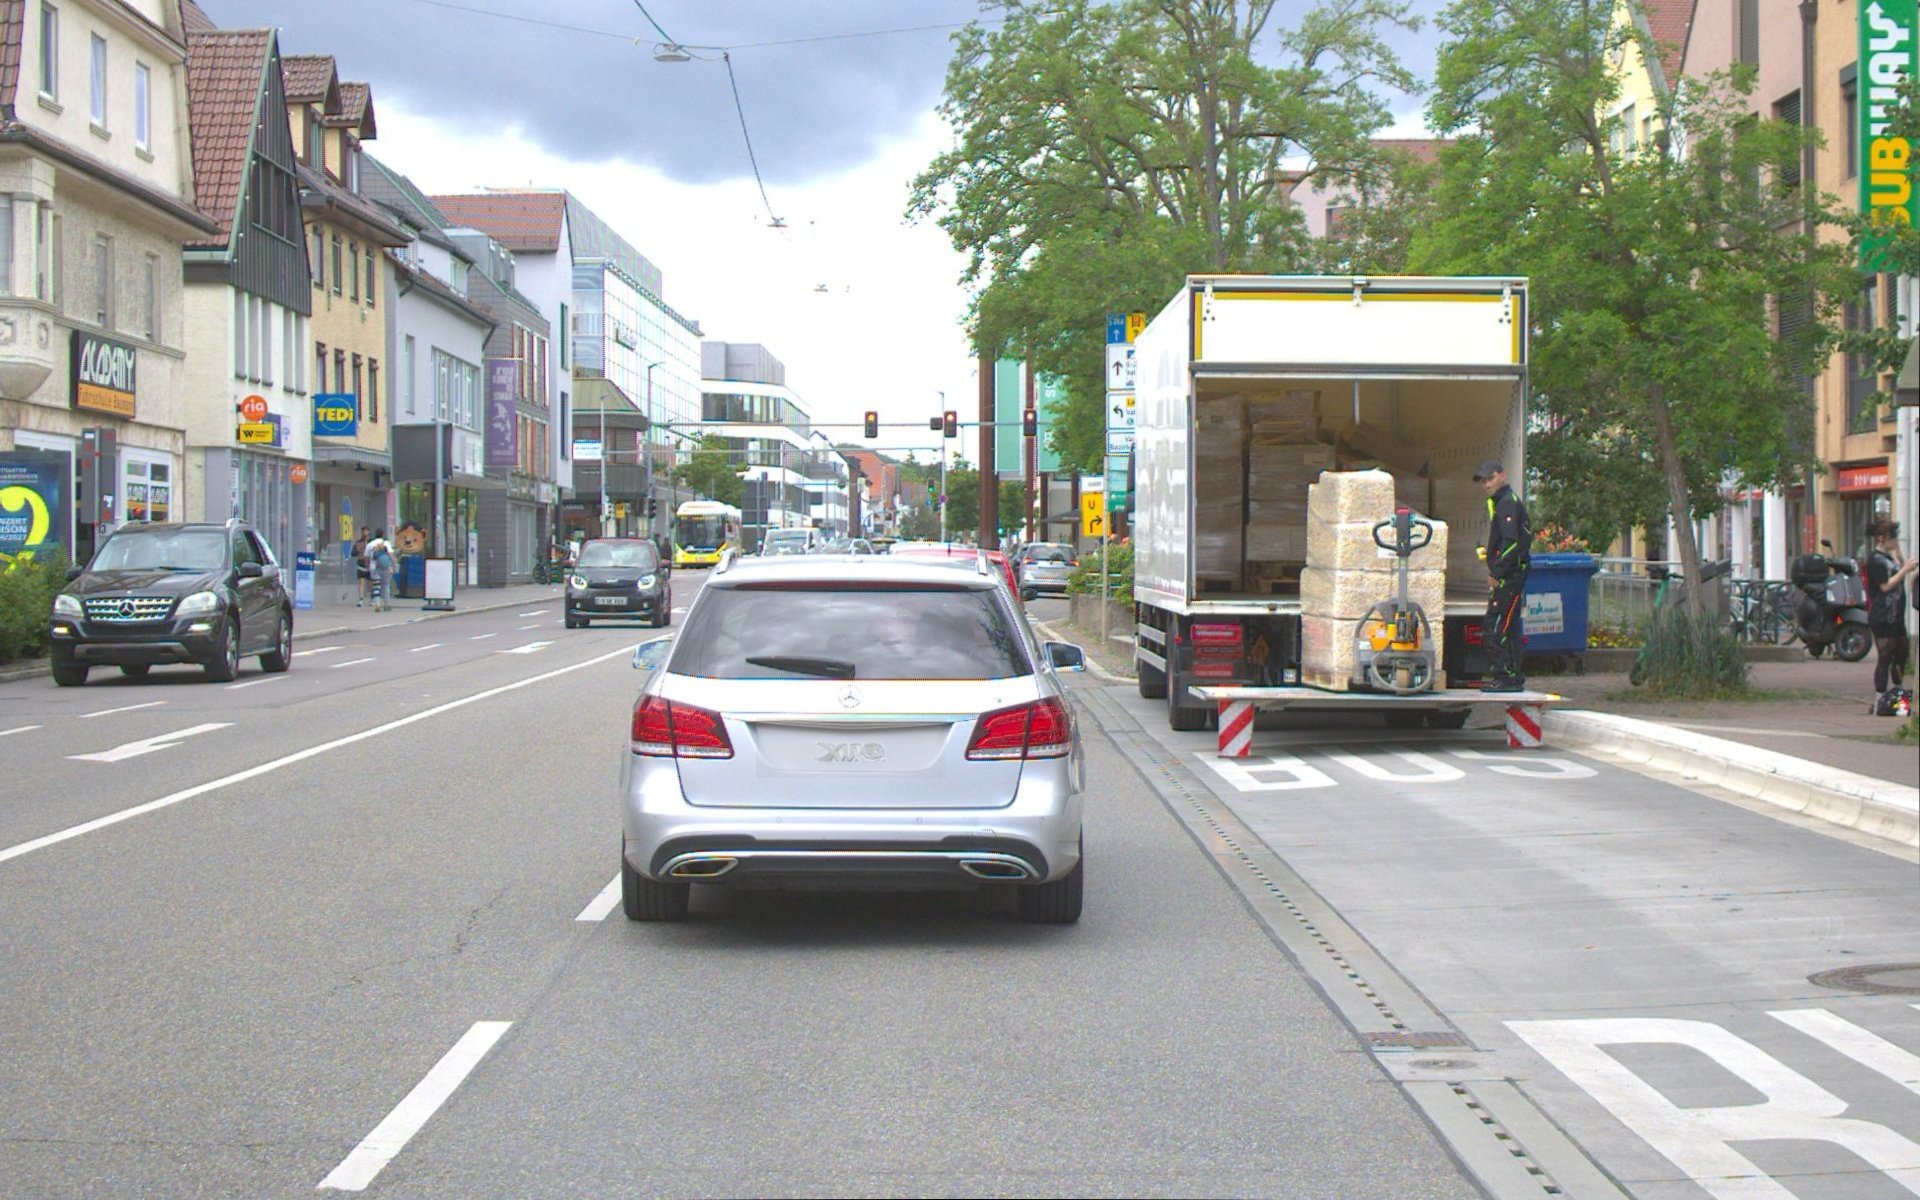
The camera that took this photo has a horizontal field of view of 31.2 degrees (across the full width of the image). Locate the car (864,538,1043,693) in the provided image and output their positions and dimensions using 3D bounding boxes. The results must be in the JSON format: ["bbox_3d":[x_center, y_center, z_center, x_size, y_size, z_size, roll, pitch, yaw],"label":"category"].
[{"bbox_3d":[-0.064,0.132,35.864,1.754,1.515,4.000,0,1,0],"label":"car"}]

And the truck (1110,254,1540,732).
[{"bbox_3d":[2.924,-0.895,30.445,2.688,3.549,9.767,0,1,0],"label":"truck"}]

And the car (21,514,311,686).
[{"bbox_3d":[-8.749,-0.046,38.311,2.069,1.732,4.693,-2,1,0],"label":"car"}]

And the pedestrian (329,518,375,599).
[{"bbox_3d":[-13.497,-0.928,76.336,0.867,1.740,0.806,3,1,-5],"label":"pedestrian"}]

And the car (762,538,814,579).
[{"bbox_3d":[-6.161,-1.500,123.185,1.617,1.423,3.923,-1,1,1],"label":"car"}]

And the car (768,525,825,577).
[{"bbox_3d":[-6.319,-1.897,133.232,1.961,1.954,5.140,-1,1,0],"label":"car"}]

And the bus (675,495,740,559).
[{"bbox_3d":[-12.578,-3.622,171.381,2.775,3.154,5.933,0,1,0],"label":"bus"}]

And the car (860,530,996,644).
[{"bbox_3d":[-0.464,-0.224,52.758,1.993,1.678,4.000,0,1,0],"label":"car"}]

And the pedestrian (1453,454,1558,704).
[{"bbox_3d":[3.924,-0.150,24.756,0.613,1.774,0.588,0,0,-4],"label":"pedestrian"}]

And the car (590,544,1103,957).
[{"bbox_3d":[-0.487,0.526,14.655,1.874,1.501,4.000,1,1,-2],"label":"car"}]

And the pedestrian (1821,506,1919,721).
[{"bbox_3d":[7.562,0.105,28.441,0.613,1.734,0.588,3,1,-4],"label":"pedestrian"}]

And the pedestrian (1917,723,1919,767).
[{"bbox_3d":[5.798,0.148,19.183,0.534,1.629,0.588,2,1,-25],"label":"pedestrian"}]

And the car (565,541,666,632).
[{"bbox_3d":[-5.937,-0.259,59.516,1.570,1.535,2.961,0,1,-2],"label":"car"}]

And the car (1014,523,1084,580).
[{"bbox_3d":[2.652,-1.464,102.877,1.993,1.678,4.000,0,1,0],"label":"car"}]

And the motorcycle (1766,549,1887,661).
[{"bbox_3d":[10.067,0.040,40.023,0.736,1.266,2.108,0,1,-4],"label":"motorcycle"}]

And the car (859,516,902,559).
[{"bbox_3d":[-3.803,-2.990,164.543,1.993,2.007,4.000,0,1,0],"label":"car"}]

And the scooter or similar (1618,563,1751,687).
[{"bbox_3d":[7.067,0.239,33.549,1.175,1.192,0.460,0,1,-9],"label":"scooter or similar"}]

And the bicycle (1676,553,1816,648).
[{"bbox_3d":[10.420,0.005,45.604,1.674,1.254,0.670,0,1,-3],"label":"bicycle"}]

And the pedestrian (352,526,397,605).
[{"bbox_3d":[-12.301,-0.727,72.228,0.816,1.629,0.980,2,1,-5],"label":"pedestrian"}]

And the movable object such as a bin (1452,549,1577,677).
[{"bbox_3d":[5.911,0.124,36.735,1.143,1.335,1.376,0,1,2],"label":"movable object such as a bin"}]

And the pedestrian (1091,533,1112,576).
[{"bbox_3d":[5.459,-1.757,132.672,0.613,1.629,0.588,3,1,-9],"label":"pedestrian"}]

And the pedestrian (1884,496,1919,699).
[{"bbox_3d":[7.836,-0.021,27.555,0.613,1.606,0.587,0,0,-45],"label":"pedestrian"}]

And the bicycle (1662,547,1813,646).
[{"bbox_3d":[10.506,-0.047,46.499,1.816,1.322,0.843,0,1,-3],"label":"bicycle"}]
